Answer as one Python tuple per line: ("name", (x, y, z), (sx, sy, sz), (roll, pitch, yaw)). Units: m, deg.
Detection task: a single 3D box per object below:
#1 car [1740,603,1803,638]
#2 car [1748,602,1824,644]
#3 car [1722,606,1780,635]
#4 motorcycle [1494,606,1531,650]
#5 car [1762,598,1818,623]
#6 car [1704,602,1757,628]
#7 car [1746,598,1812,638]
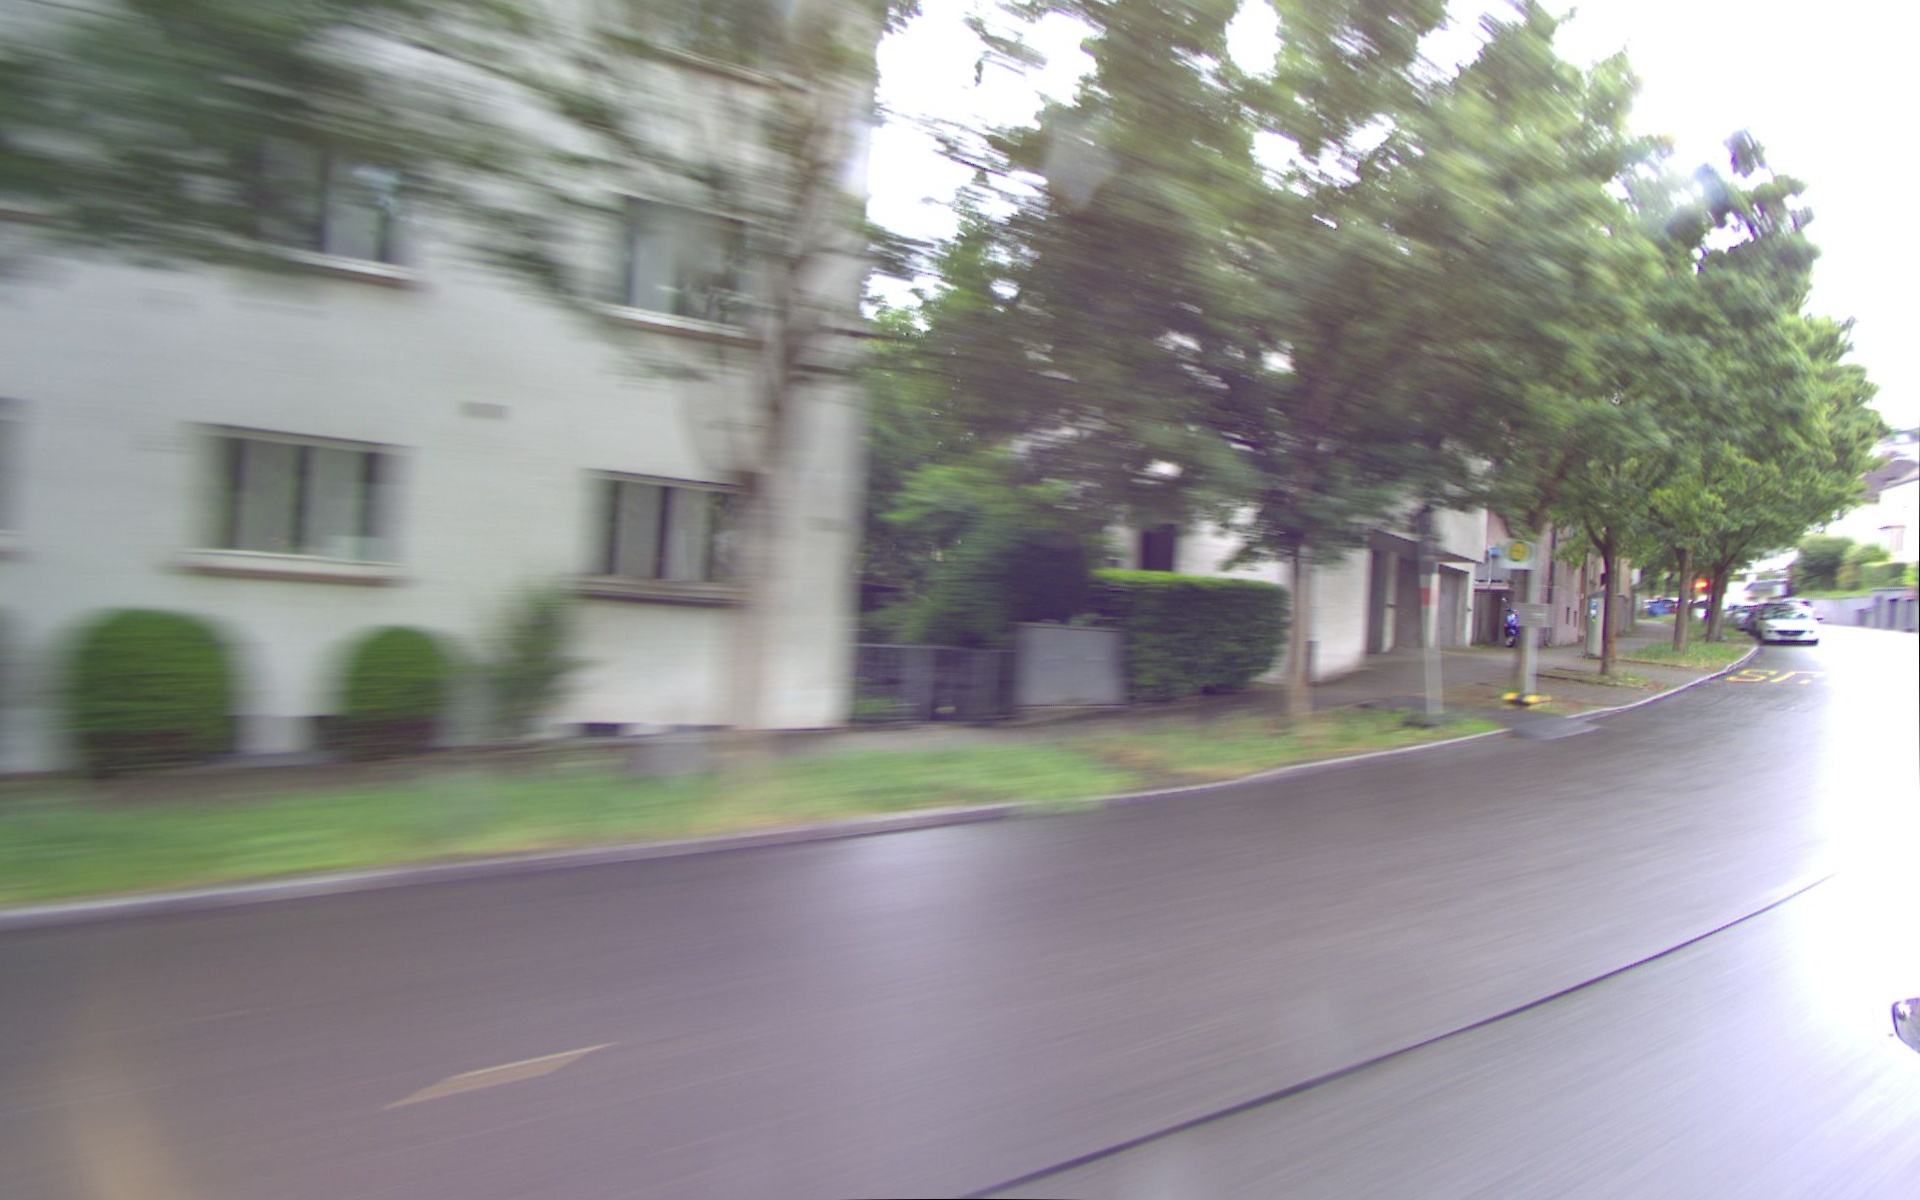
("car", (39.007, 0.965, 48.348), (1.966, 1.595, 3.988), (0, -1, 34))
("car", (32.861, 0.879, 40.060), (1.966, 1.550, 3.988), (1, 0, 34))
("car", (42.888, 1.102, 54.524), (1.965, 1.494, 3.992), (0, -1, 31))
("motorcycle", (16.231, 0.797, 29.506), (0.606, 1.175, 1.690), (3, 3, 40))
("car", (60.266, 0.747, 72.983), (1.961, 1.706, 3.999), (1, 0, 22))
("car", (46.170, 0.910, 60.254), (1.964, 1.494, 3.993), (0, -1, 29))
("car", (35.772, 0.761, 43.967), (1.853, 1.617, 3.988), (1, 0, 34))
